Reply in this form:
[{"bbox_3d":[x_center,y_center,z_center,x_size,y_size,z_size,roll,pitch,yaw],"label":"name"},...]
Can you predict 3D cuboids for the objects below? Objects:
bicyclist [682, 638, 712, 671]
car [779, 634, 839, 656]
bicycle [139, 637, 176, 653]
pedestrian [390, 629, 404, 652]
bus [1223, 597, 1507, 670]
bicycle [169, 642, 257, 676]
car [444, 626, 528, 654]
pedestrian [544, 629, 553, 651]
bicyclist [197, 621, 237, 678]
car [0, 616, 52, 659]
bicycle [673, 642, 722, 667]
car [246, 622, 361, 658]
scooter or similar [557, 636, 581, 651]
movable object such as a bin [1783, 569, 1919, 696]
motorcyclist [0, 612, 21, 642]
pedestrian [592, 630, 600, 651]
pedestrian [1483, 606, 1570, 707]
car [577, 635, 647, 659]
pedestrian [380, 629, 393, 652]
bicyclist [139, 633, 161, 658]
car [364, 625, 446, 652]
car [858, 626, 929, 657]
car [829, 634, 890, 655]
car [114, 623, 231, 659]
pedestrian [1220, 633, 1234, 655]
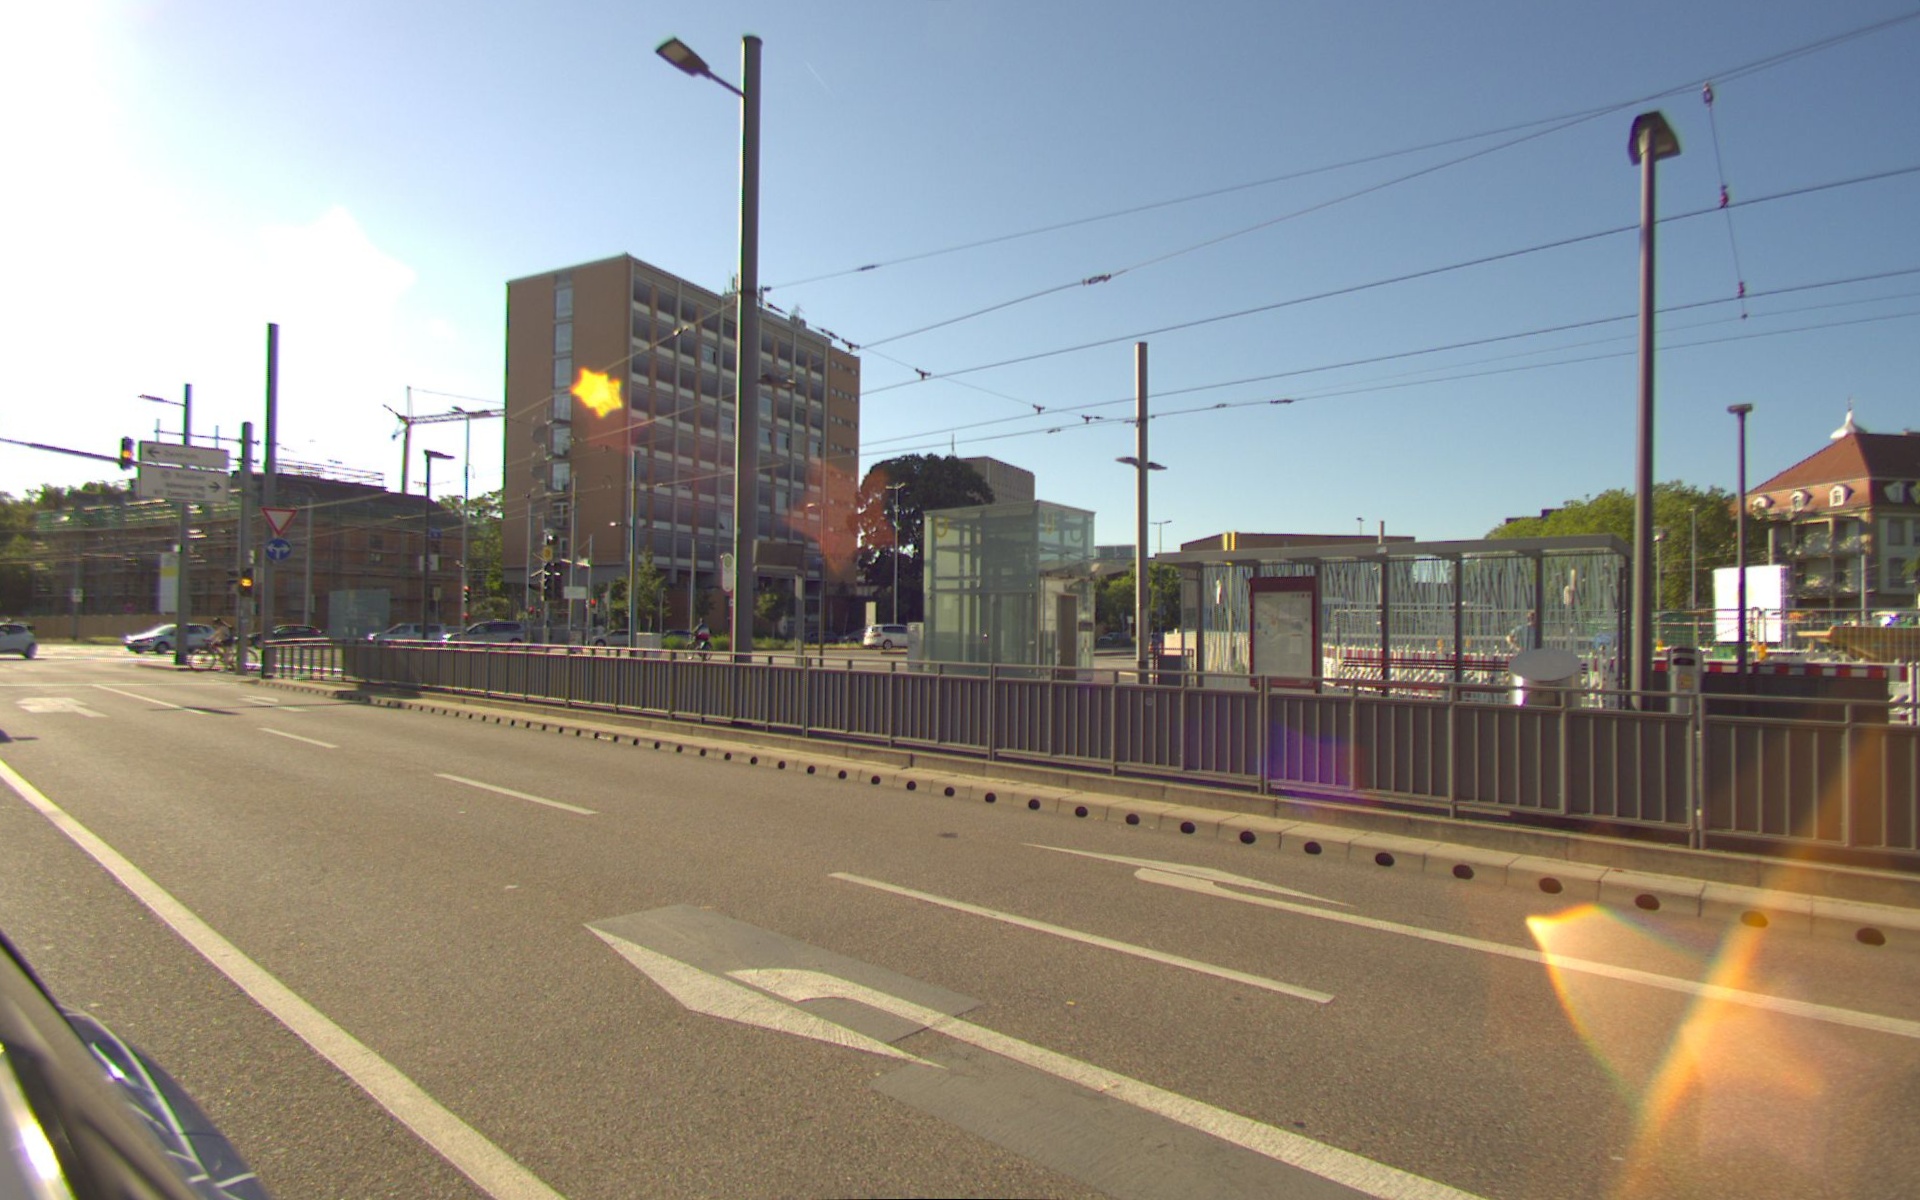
[{"bbox_3d":[-11.219,2.326,43.202,0.898,1.354,0.807,-1,1,29],"label":"bicyclist"},{"bbox_3d":[-12.611,3.800,84.612,4.628,1.697,2.005,2,-6,-34],"label":"car"},{"bbox_3d":[-55.194,3.084,69.635,1.847,0.977,0.714,3,0,-24],"label":"bicycle"},{"bbox_3d":[-42.571,3.076,76.521,0.721,1.752,0.623,3,-2,-38],"label":"pedestrian"},{"bbox_3d":[19.192,1.641,48.280,12.466,3.219,2.844,0,-5,-5],"label":"bus"},{"bbox_3d":[-21.754,1.716,29.493,0.814,0.949,1.872,-1,-4,36],"label":"bicycle"},{"bbox_3d":[-29.953,2.521,64.002,4.540,1.701,2.005,2,-2,-33],"label":"car"},{"bbox_3d":[-31.954,3.103,78.509,0.496,1.648,0.428,3,-6,-42],"label":"pedestrian"},{"bbox_3d":[-21.709,1.432,29.563,0.814,1.628,0.668,-1,-4,36],"label":"bicyclist"},{"bbox_3d":[-38.751,1.475,40.235,1.967,1.689,4.292,1,-2,-10],"label":"car"},{"bbox_3d":[-11.218,2.327,43.207,1.993,0.949,0.807,-1,1,29],"label":"bicycle"},{"bbox_3d":[-39.674,2.465,61.349,5.667,2.029,2.006,2,-5,-30],"label":"car"},{"bbox_3d":[-33.048,3.693,85.581,1.691,1.257,0.796,-2,-5,14],"label":"scooter or similar"},{"bbox_3d":[20.888,0.684,21.057,5.136,2.545,2.614,-3,-5,23],"label":"movable object such as a bin"},{"bbox_3d":[-55.060,1.557,58.081,1.429,1.680,1.121,2,-5,-28],"label":"motorcyclist"},{"bbox_3d":[-30.702,3.420,85.311,0.614,1.725,0.487,0,-5,-14],"label":"pedestrian"},{"bbox_3d":[10.409,1.061,18.603,1.179,1.782,0.793,-5,-6,41],"label":"pedestrian"},{"bbox_3d":[-26.159,3.586,76.166,4.628,1.697,2.005,2,-6,-34],"label":"car"},{"bbox_3d":[-43.187,3.048,76.189,0.612,1.752,0.666,2,-1,-7],"label":"pedestrian"},{"bbox_3d":[-54.031,3.041,67.508,0.999,1.599,0.696,3,0,-29],"label":"bicyclist"},{"bbox_3d":[-36.647,2.575,66.847,4.626,1.697,2.006,2,-5,-31],"label":"car"},{"bbox_3d":[-4.499,2.852,68.646,4.392,1.747,1.945,6,-7,-38],"label":"car"},{"bbox_3d":[-8.363,3.729,84.268,4.628,1.697,2.005,2,-6,-34],"label":"car"},{"bbox_3d":[-39.002,2.037,50.263,1.982,1.689,4.262,0,-2,15],"label":"car"},{"bbox_3d":[22.807,3.757,86.452,0.803,1.782,0.951,-4,-6,37],"label":"pedestrian"}]
